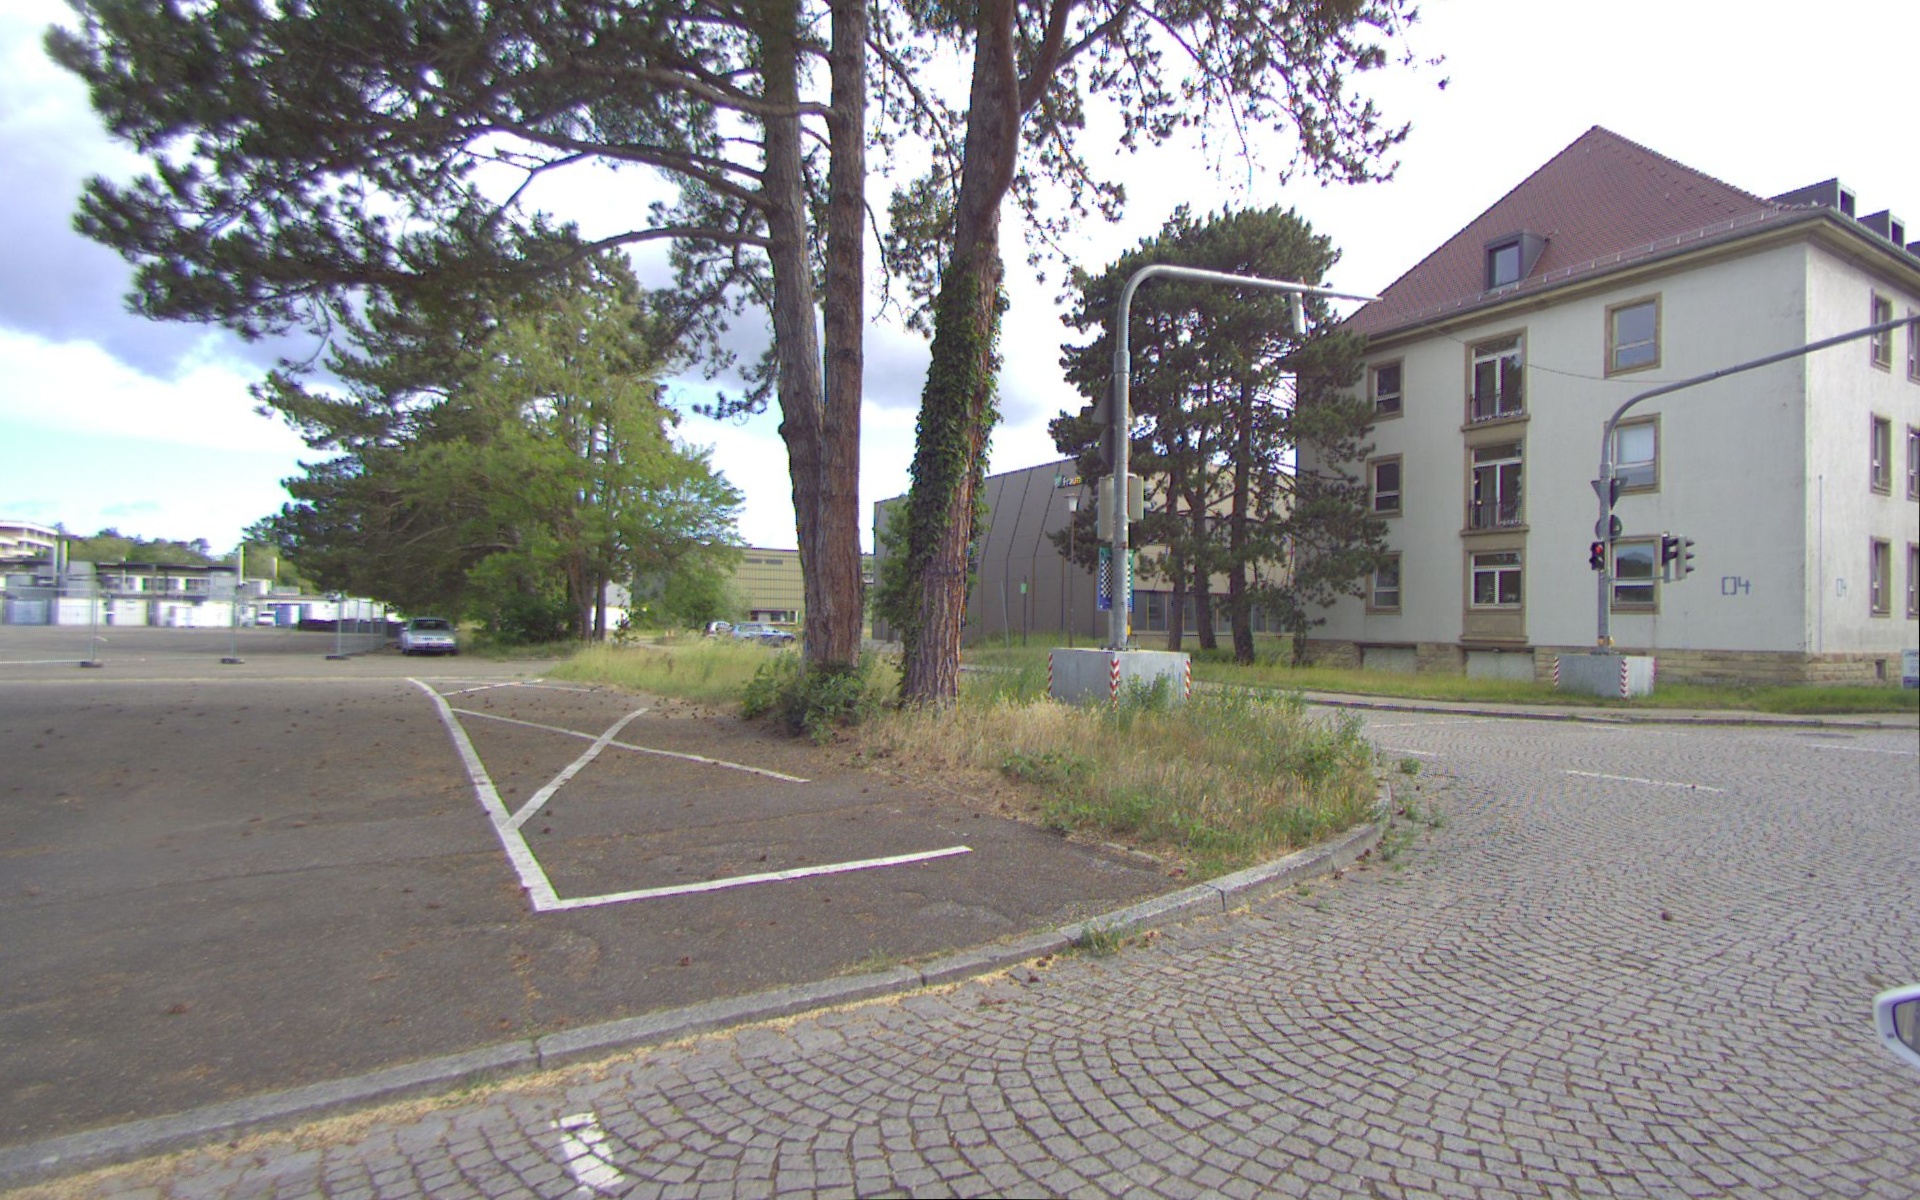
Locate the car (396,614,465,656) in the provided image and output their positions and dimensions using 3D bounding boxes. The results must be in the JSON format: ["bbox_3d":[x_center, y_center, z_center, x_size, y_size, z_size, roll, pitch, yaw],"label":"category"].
[{"bbox_3d":[-20.318,1.310,38.437,1.905,1.496,4.329,2,-2,-33],"label":"car"}]

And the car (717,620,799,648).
[{"bbox_3d":[-12.153,2.022,60.618,4.486,1.552,1.981,0,-1,-35],"label":"car"}]

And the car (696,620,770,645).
[{"bbox_3d":[-15.220,2.134,67.381,4.480,1.552,1.984,0,-1,-31],"label":"car"}]
